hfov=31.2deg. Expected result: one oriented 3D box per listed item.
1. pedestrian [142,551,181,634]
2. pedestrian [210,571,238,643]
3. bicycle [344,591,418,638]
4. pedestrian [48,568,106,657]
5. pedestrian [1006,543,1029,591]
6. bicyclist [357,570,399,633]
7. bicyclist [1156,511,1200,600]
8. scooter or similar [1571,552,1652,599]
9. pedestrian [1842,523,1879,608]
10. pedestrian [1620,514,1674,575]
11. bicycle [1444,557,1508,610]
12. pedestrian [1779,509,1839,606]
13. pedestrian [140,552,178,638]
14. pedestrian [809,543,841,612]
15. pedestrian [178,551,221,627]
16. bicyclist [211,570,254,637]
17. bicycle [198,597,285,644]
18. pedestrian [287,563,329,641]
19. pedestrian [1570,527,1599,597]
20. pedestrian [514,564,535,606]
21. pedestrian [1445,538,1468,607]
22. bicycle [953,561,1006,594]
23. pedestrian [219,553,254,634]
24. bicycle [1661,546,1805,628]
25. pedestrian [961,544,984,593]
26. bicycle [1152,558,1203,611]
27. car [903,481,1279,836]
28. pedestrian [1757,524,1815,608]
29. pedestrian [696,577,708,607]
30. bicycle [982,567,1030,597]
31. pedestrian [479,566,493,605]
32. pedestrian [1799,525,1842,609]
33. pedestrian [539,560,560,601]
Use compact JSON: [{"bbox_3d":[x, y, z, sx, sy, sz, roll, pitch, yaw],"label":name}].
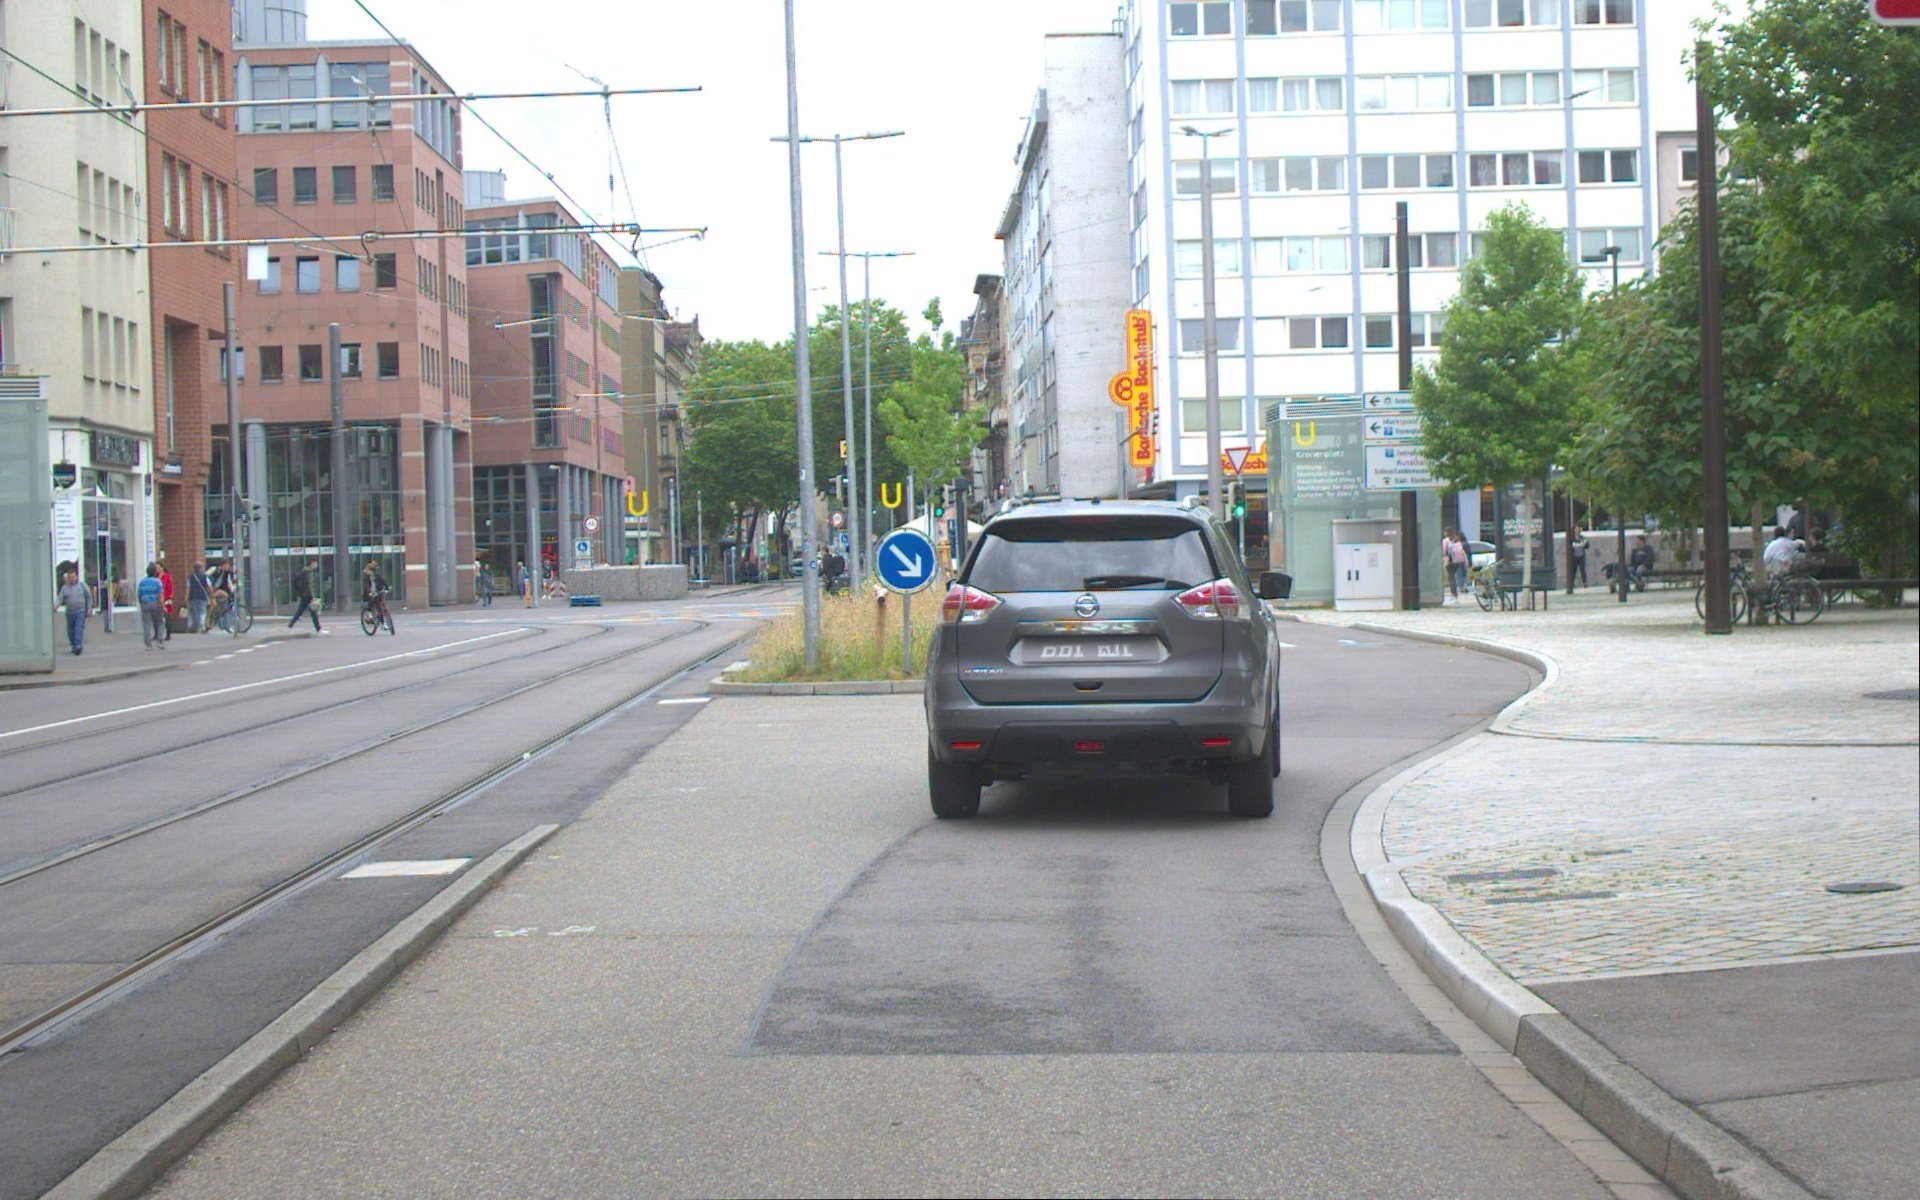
[{"bbox_3d":[-16.543,-0.148,71.208,0.720,1.681,0.662,-2,-1,-11],"label":"pedestrian"},{"bbox_3d":[-17.331,0.173,80.949,0.569,1.678,0.799,0,-1,-5],"label":"pedestrian"},{"bbox_3d":[-13.122,0.324,77.907,1.910,1.017,0.479,-2,1,40],"label":"bicycle"},{"bbox_3d":[-17.174,0.243,66.906,0.721,1.681,0.824,-2,-1,18],"label":"pedestrian"},{"bbox_3d":[2.090,-1.199,125.345,0.732,1.740,0.663,-1,0,-9],"label":"pedestrian"},{"bbox_3d":[-13.193,0.040,77.961,0.811,1.402,0.479,-2,0,41],"label":"bicyclist"},{"bbox_3d":[4.468,-0.915,70.505,0.834,1.806,0.877,-1,0,1],"label":"bicyclist"},{"bbox_3d":[14.670,-0.552,77.387,1.590,0.945,0.723,-3,0,37],"label":"scooter or similar"},{"bbox_3d":[14.790,-0.566,56.439,0.543,1.361,1.279,0,0,16],"label":"pedestrian"},{"bbox_3d":[15.389,-1.237,77.004,1.044,1.292,0.733,-3,0,4],"label":"pedestrian"},{"bbox_3d":[9.984,-0.319,66.462,0.659,0.975,1.752,-2,1,28],"label":"bicycle"},{"bbox_3d":[16.218,-0.803,65.672,0.713,1.796,1.078,-4,0,-2],"label":"pedestrian"},{"bbox_3d":[-15.908,-0.099,68.293,0.660,1.681,0.723,-2,-1,-10],"label":"pedestrian"},{"bbox_3d":[-3.329,-0.548,85.004,0.743,1.678,0.799,0,-1,-5],"label":"pedestrian"},{"bbox_3d":[-17.174,-0.251,77.659,0.868,1.681,0.662,-2,-1,-16],"label":"pedestrian"},{"bbox_3d":[-16.905,0.079,79.931,0.809,1.535,0.492,-2,0,8],"label":"bicyclist"},{"bbox_3d":[-16.697,0.473,79.928,1.906,1.017,0.477,-2,0,9],"label":"bicycle"},{"bbox_3d":[-15.754,0.058,83.025,0.896,1.883,0.799,0,-1,-3],"label":"pedestrian"},{"bbox_3d":[15.720,-0.948,86.574,0.671,1.755,0.641,0,0,14],"label":"pedestrian"},{"bbox_3d":[-19.379,-0.673,152.921,0.732,1.835,0.702,-1,0,-26],"label":"pedestrian"},{"bbox_3d":[11.188,-0.618,77.502,0.432,1.550,0.499,-1,0,-1],"label":"pedestrian"},{"bbox_3d":[0.731,-0.827,126.167,1.867,1.168,0.531,-1,0,-13],"label":"bicycle"},{"bbox_3d":[-15.368,-0.137,73.023,0.660,1.681,0.723,-2,-1,-13],"label":"pedestrian"},{"bbox_3d":[10.756,-0.180,47.894,1.915,1.119,0.645,0,0,10],"label":"bicycle"},{"bbox_3d":[0.464,-1.191,128.794,0.712,1.826,1.017,-1,0,-9],"label":"pedestrian"},{"bbox_3d":[4.446,-0.326,70.458,0.902,1.041,3.277,-1,0,1],"label":"bicycle"},{"bbox_3d":[0.865,0.252,19.553,1.863,1.768,4.566,-1,1,5],"label":"car"},{"bbox_3d":[13.397,-0.551,55.766,0.628,1.361,0.688,-1,0,-20],"label":"pedestrian"},{"bbox_3d":[-14.817,-0.487,197.267,0.600,1.708,0.656,-1,0,-8],"label":"pedestrian"},{"bbox_3d":[1.690,-0.652,125.888,1.695,1.062,0.437,-1,0,-14],"label":"bicycle"},{"bbox_3d":[-18.345,-0.563,133.083,0.449,1.527,0.522,-1,0,-19],"label":"pedestrian"},{"bbox_3d":[14.034,-0.535,56.076,0.628,1.361,0.918,0,0,16],"label":"pedestrian"},{"bbox_3d":[-18.489,-0.870,154.772,0.701,1.835,0.734,0,0,15],"label":"pedestrian"}]
